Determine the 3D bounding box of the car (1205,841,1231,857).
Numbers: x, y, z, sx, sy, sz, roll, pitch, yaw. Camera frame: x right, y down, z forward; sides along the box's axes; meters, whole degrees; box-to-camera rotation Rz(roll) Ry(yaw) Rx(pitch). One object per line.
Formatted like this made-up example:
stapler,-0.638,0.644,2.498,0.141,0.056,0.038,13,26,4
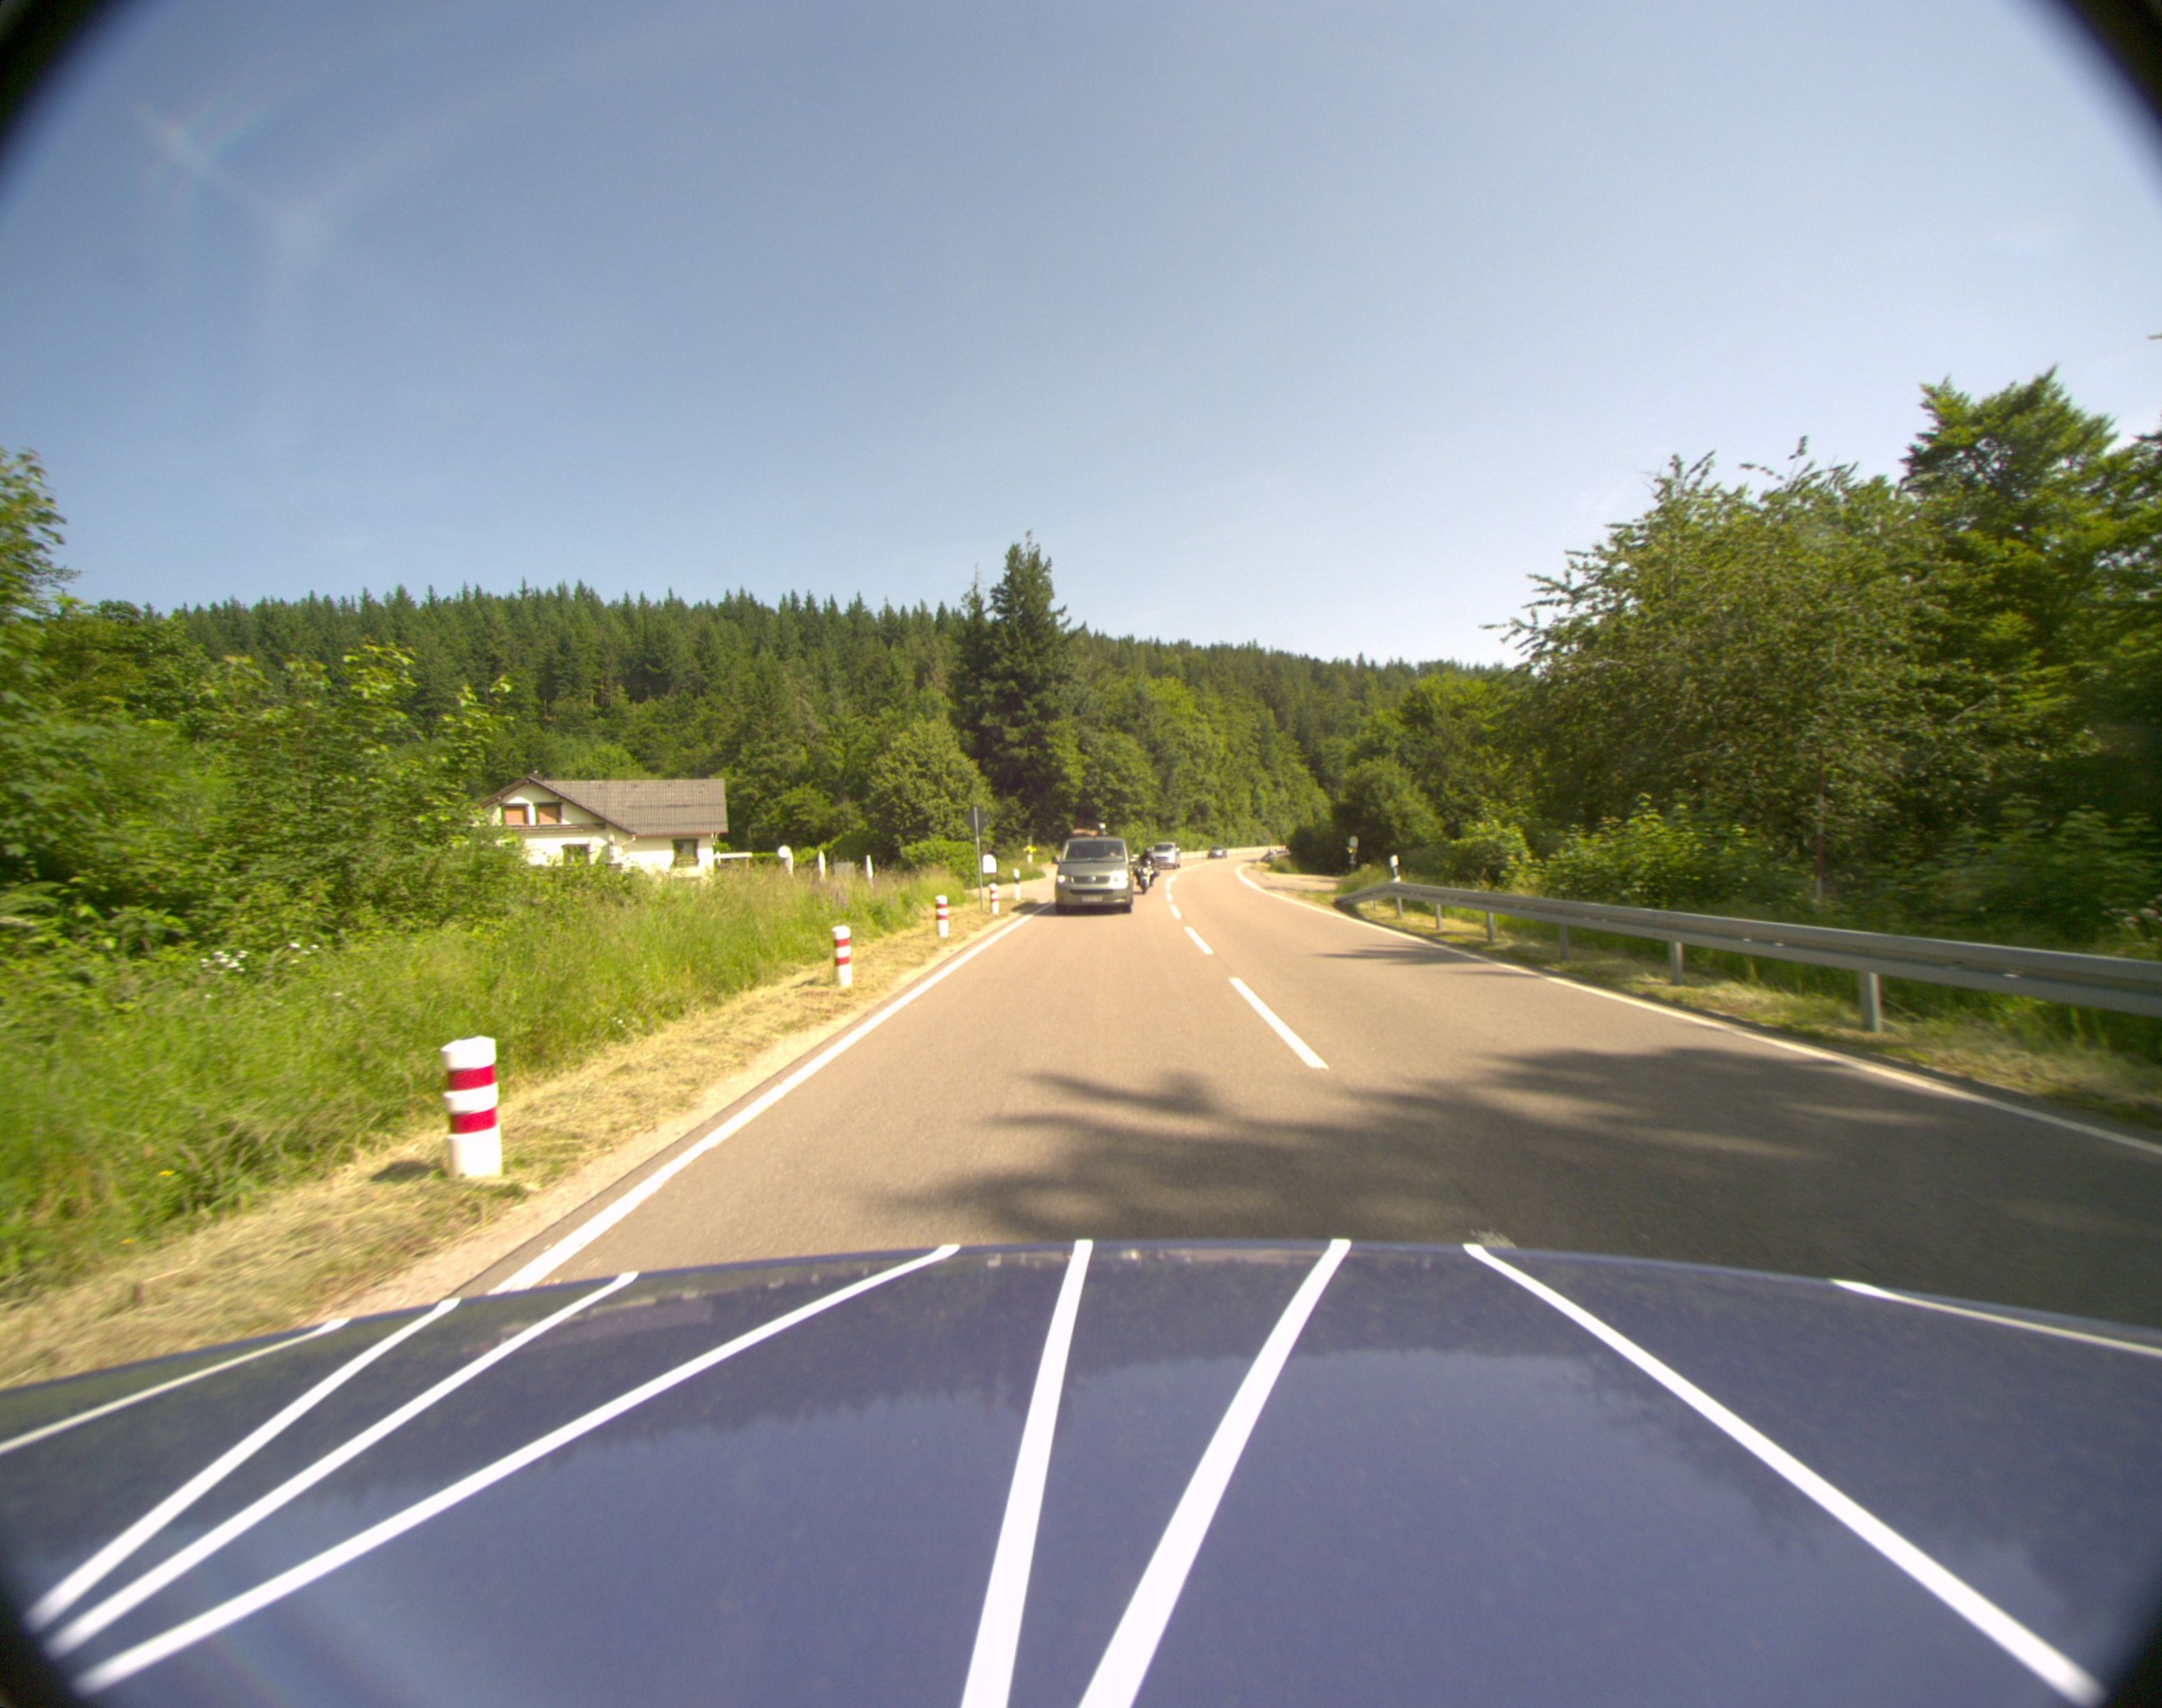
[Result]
car,15.237,-0.545,84.412,1.995,1.633,4.005,-2,1,21

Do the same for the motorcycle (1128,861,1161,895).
motorcycle,2.285,0.835,27.137,1.109,1.117,1.961,-1,1,7

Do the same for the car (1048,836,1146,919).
car,0.579,0.550,20.335,2.028,1.940,4.902,-1,0,8

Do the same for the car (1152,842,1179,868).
car,6.112,0.028,54.608,1.651,1.749,3.796,-1,1,10

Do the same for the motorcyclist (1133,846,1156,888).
motorcyclist,2.266,0.444,26.972,0.716,1.422,0.999,-3,0,6
